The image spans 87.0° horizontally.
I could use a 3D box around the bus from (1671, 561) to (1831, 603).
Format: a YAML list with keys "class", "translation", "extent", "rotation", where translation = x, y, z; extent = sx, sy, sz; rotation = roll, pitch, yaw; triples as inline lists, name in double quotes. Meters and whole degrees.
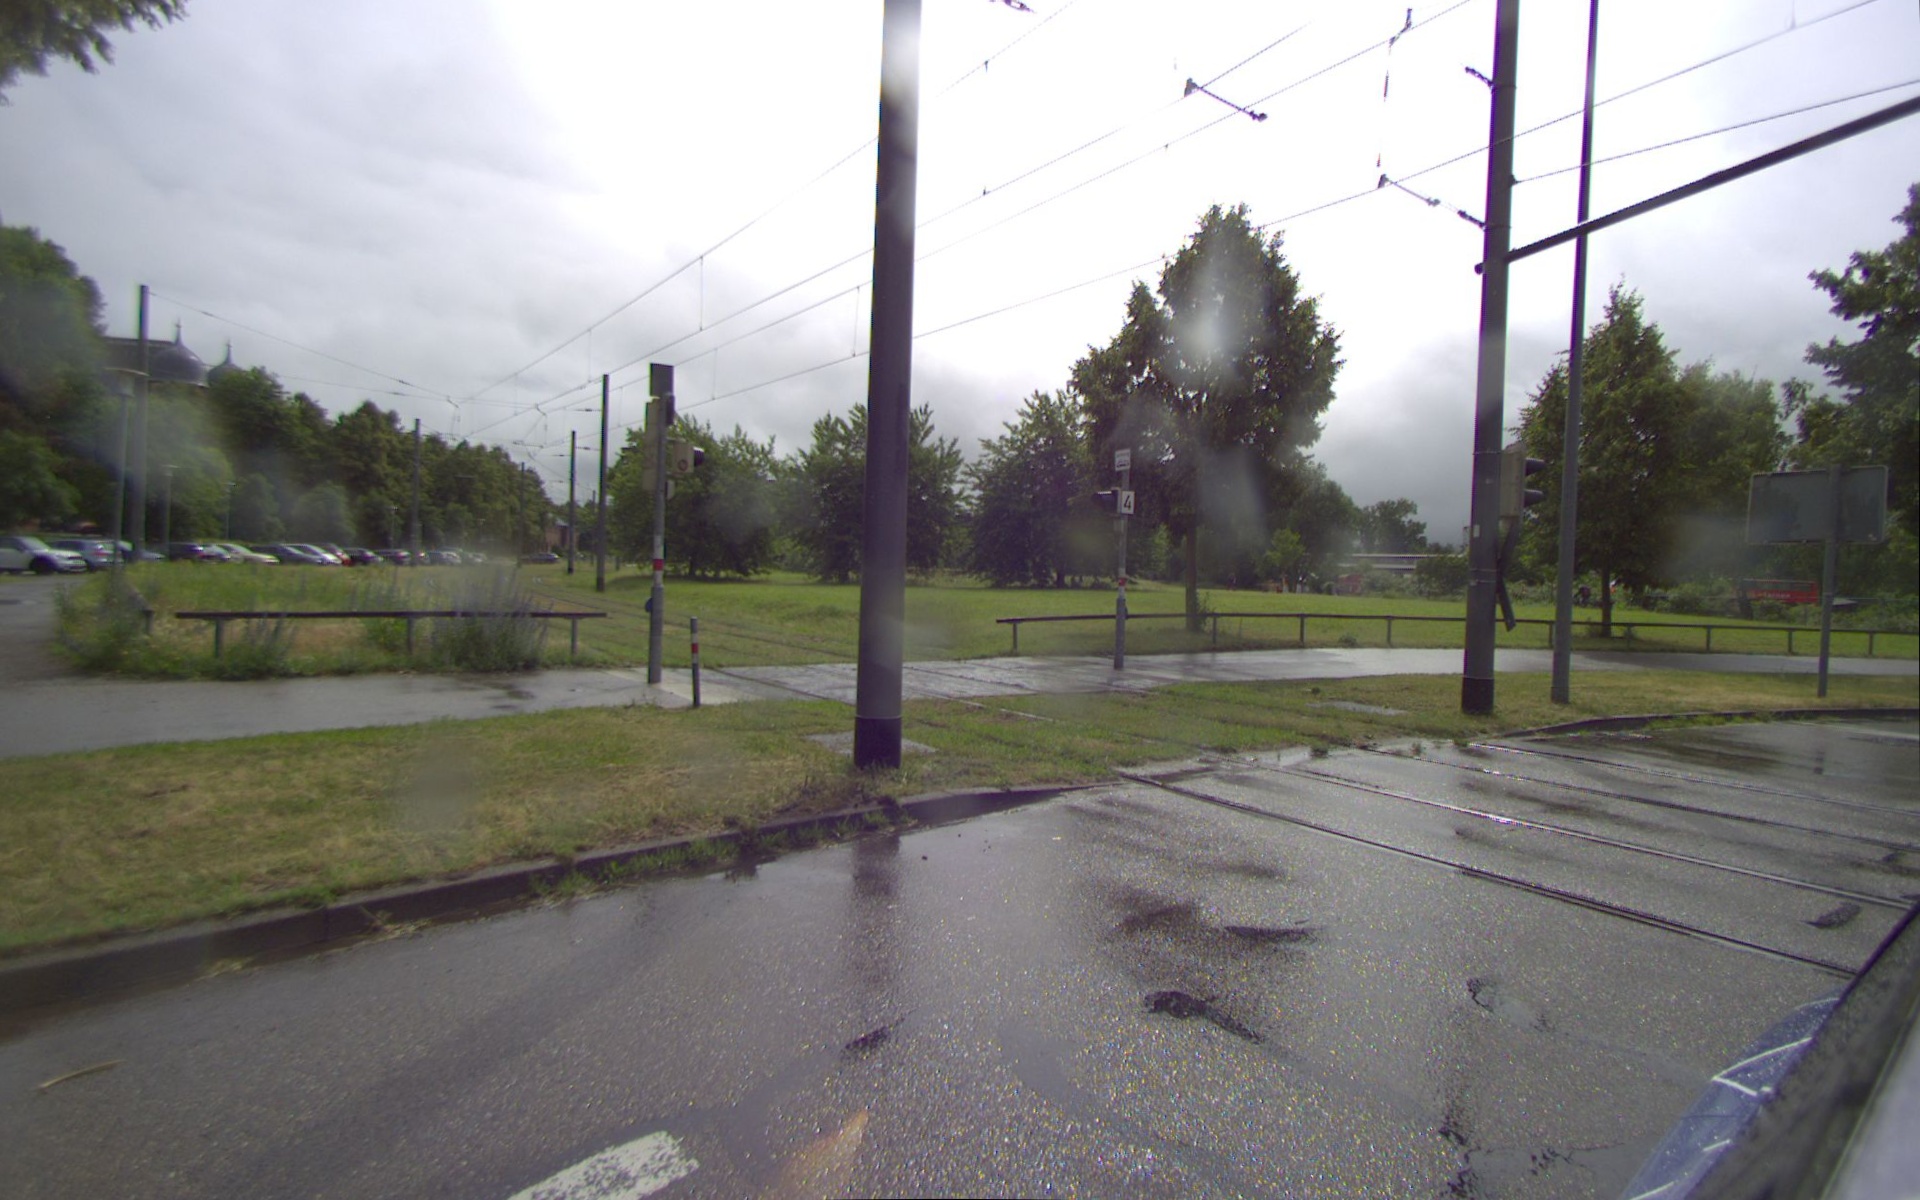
- class: "bus"
  translation: [69.602, -1.625, 89.310]
  extent: [10.950, 3.504, 1.968]
  rotation: [2, -1, 44]

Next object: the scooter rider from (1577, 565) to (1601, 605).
- class: "scooter rider"
  translation: [32.363, -0.776, 52.095]
  extent: [0.692, 2.039, 0.771]
  rotation: [2, -1, -3]

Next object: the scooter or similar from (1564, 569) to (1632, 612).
- class: "scooter or similar"
  translation: [32.351, -0.473, 51.394]
  extent: [1.216, 2.039, 3.409]
  rotation: [2, 0, -1]
